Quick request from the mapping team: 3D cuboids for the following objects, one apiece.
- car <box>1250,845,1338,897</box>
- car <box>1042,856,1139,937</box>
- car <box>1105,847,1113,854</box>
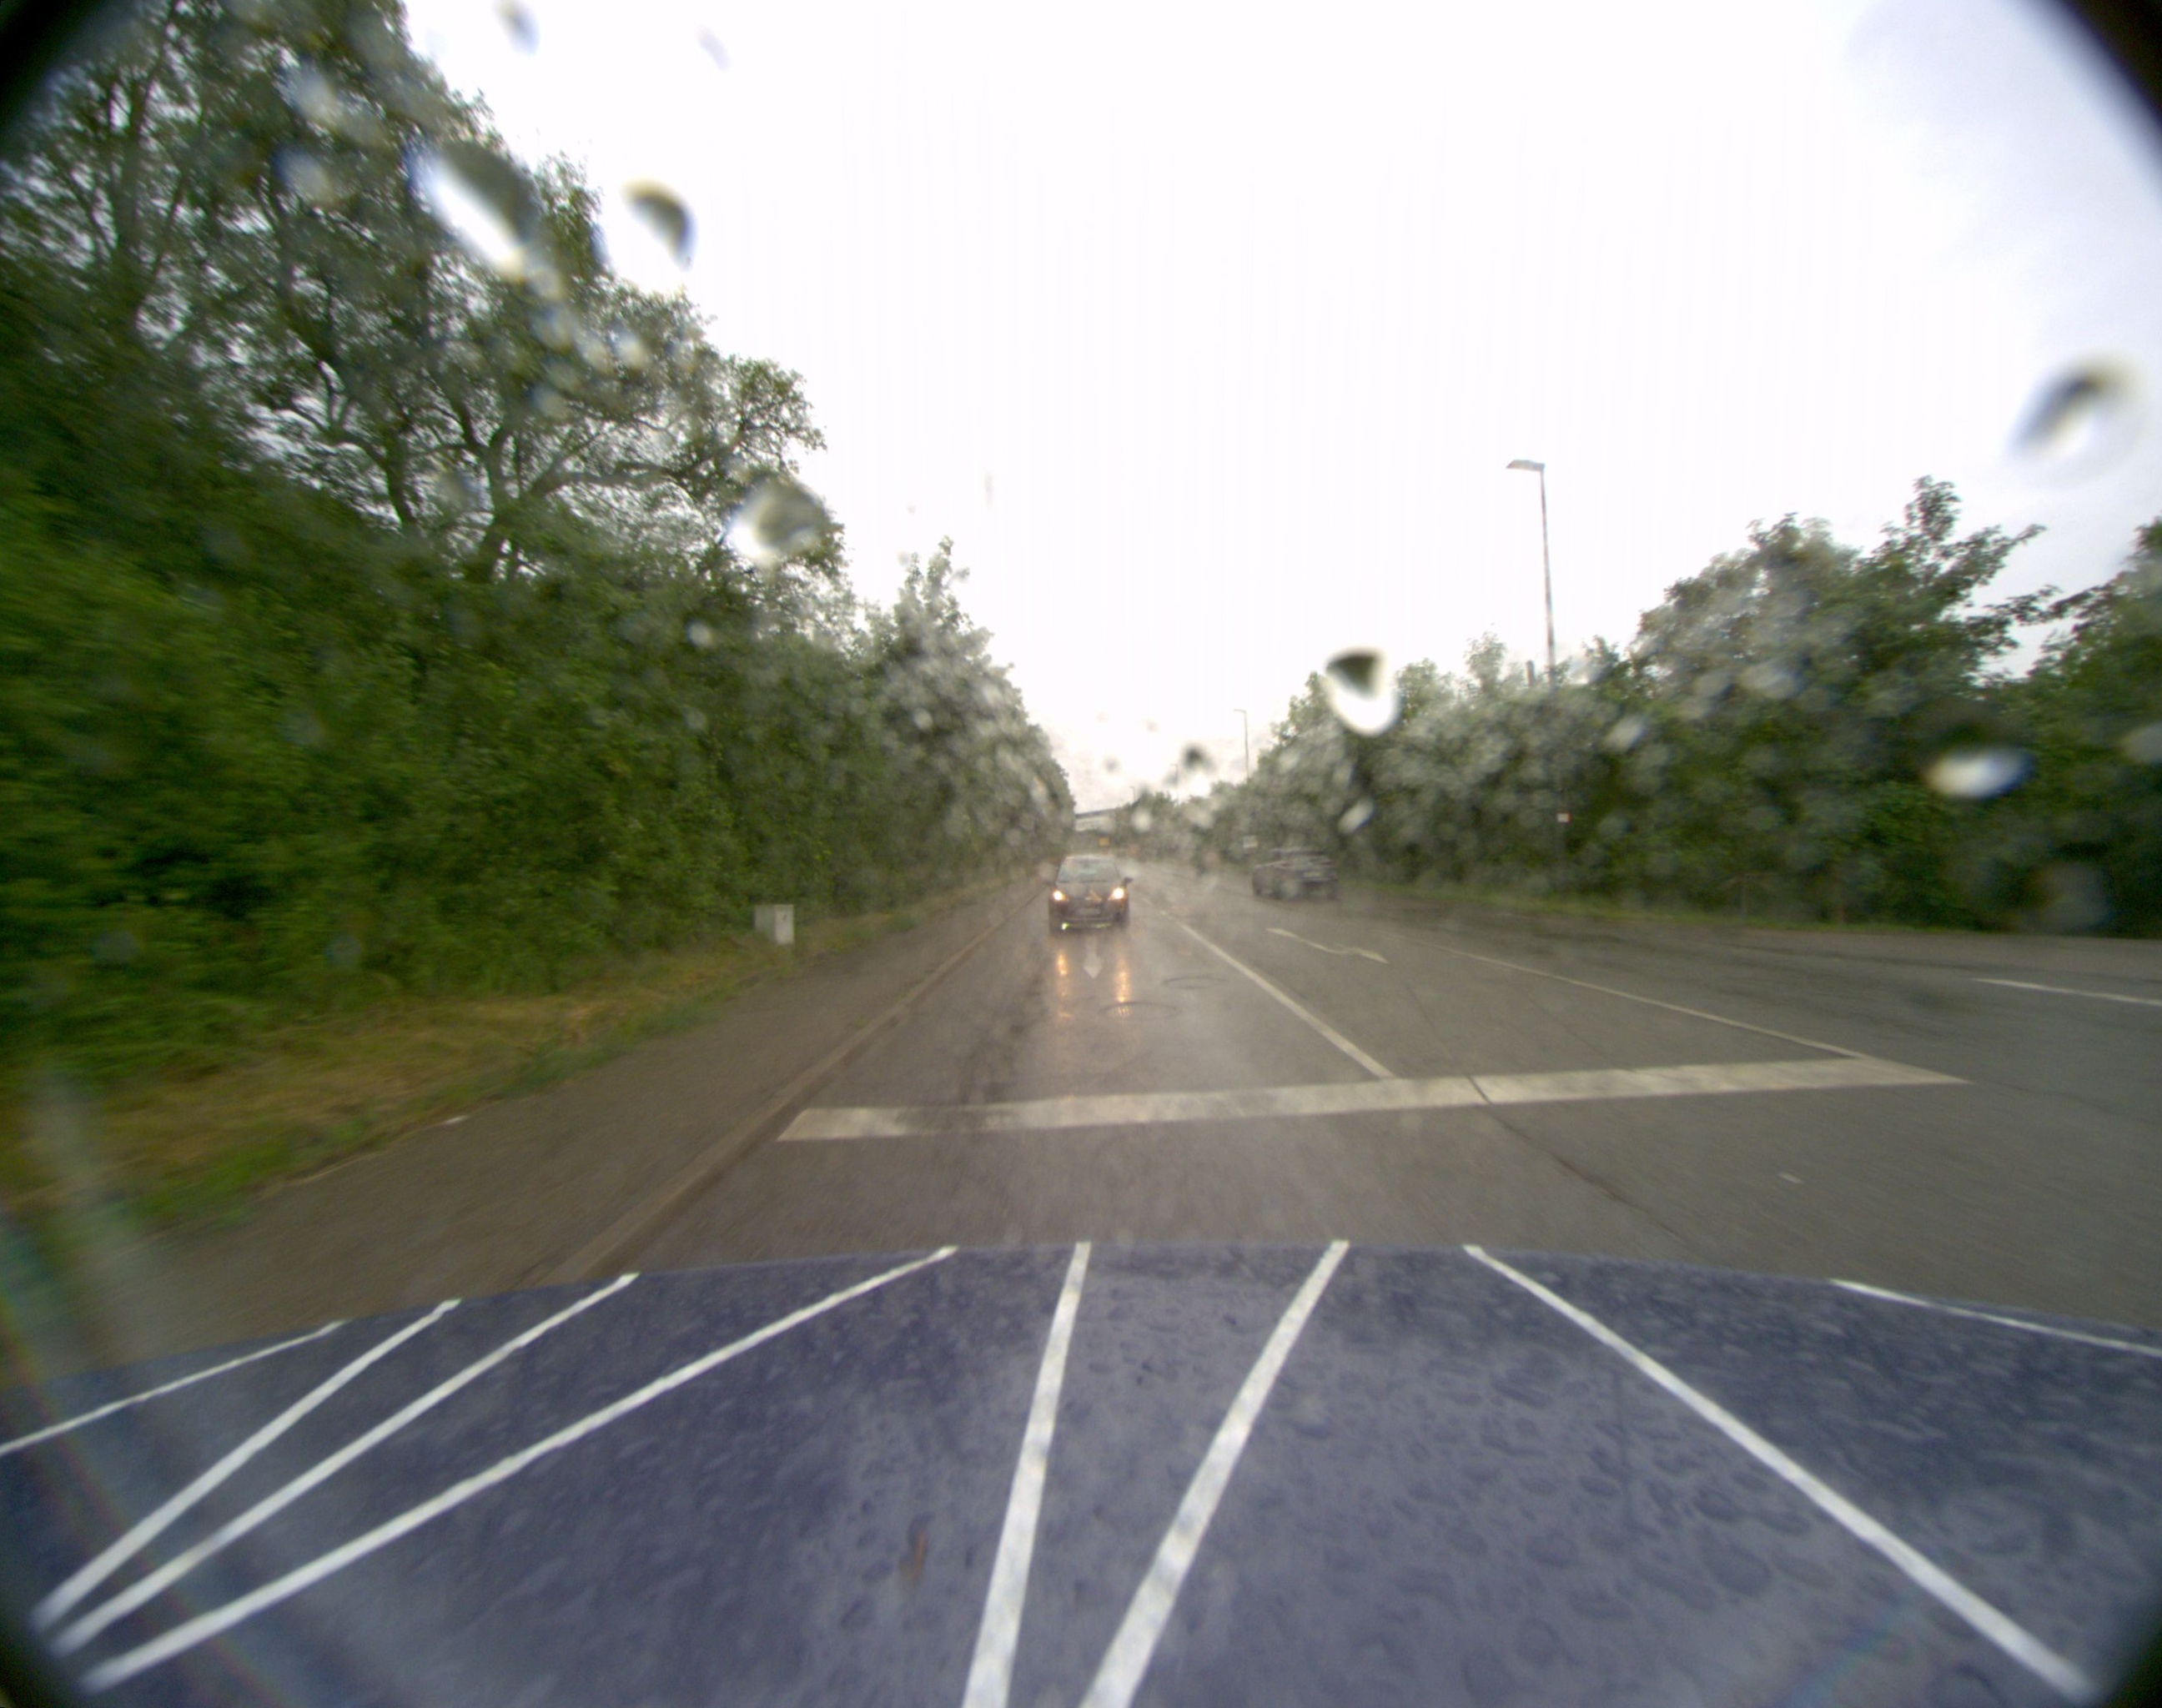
[{"bbox_3d":[6.577,0.492,23.904,1.643,1.461,4.000,-2,0,0],"label":"car"},{"bbox_3d":[0.203,0.838,16.953,1.839,1.404,4.341,-2,2,1],"label":"car"},{"bbox_3d":[6.922,-0.987,188.541,1.998,1.576,3.999,-2,2,0],"label":"car"}]
